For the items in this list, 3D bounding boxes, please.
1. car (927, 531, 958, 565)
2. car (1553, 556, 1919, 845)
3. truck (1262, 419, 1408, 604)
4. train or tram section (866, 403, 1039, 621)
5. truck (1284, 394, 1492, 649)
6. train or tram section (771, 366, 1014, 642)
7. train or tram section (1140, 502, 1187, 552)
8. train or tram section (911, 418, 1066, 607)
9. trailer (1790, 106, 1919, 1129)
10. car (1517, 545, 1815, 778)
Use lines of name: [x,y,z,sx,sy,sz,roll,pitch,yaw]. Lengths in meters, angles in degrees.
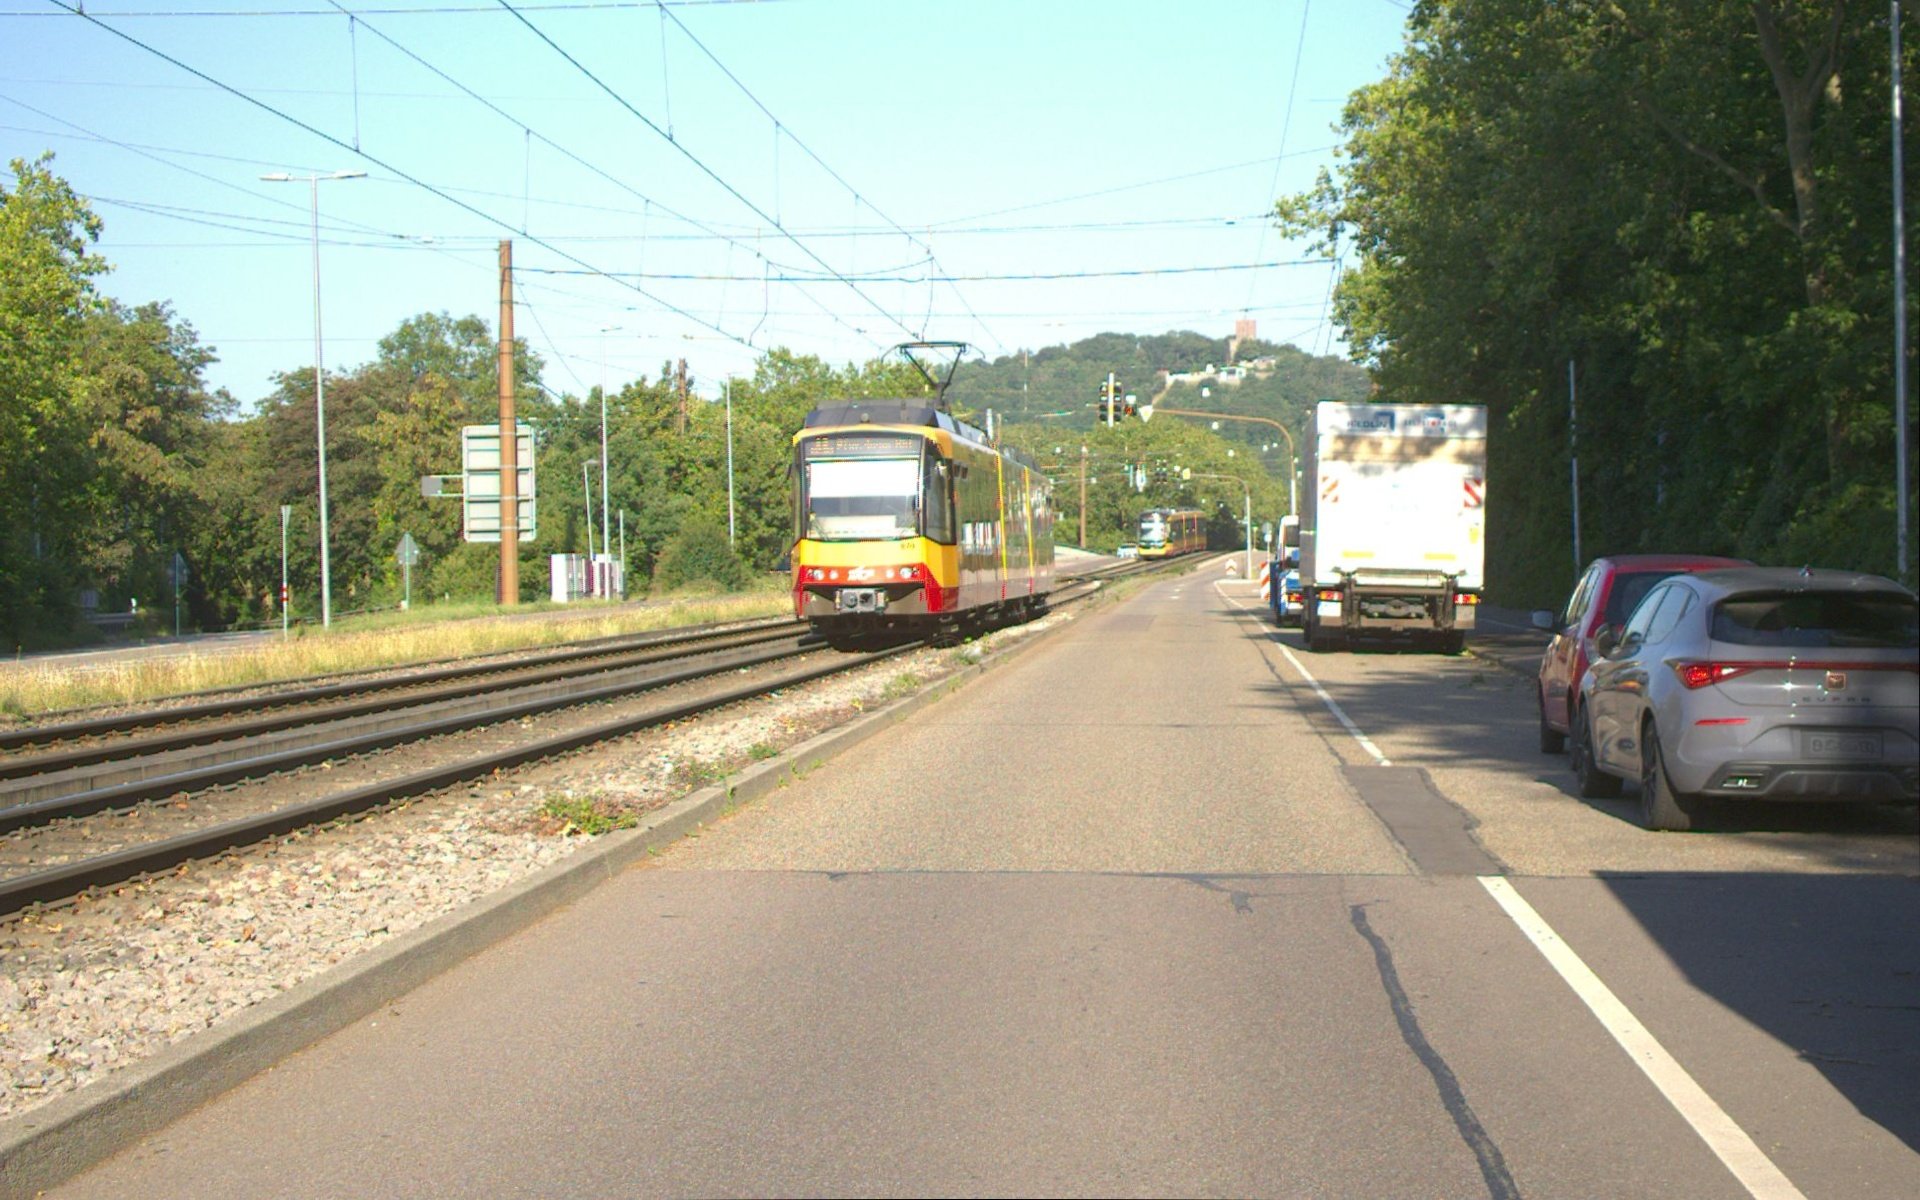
car: [-1.051,-3.116,206.283,1.724,2.007,4.000,1,0,1]
car: [4.614,0.498,19.893,1.809,1.452,4.165,1,1,3]
truck: [8.152,-1.907,75.754,2.717,3.770,9.760,1,1,4]
train or tram section: [-0.031,-1.742,70.177,2.695,4.075,9.909,-1,1,4]
truck: [6.902,-1.260,56.674,2.742,3.770,10.088,1,1,4]
train or tram section: [-0.916,-1.553,58.469,2.722,4.077,13.613,-1,1,4]
train or tram section: [15.054,-5.401,253.622,2.645,3.554,10.829,-1,1,8]
train or tram section: [0.813,-2.016,81.513,2.720,4.075,12.811,-1,1,4]
trailer: [3.629,0.048,8.814,2.252,2.685,5.945,0,1,7]
car: [5.125,0.389,25.338,1.640,1.531,3.640,2,1,4]
